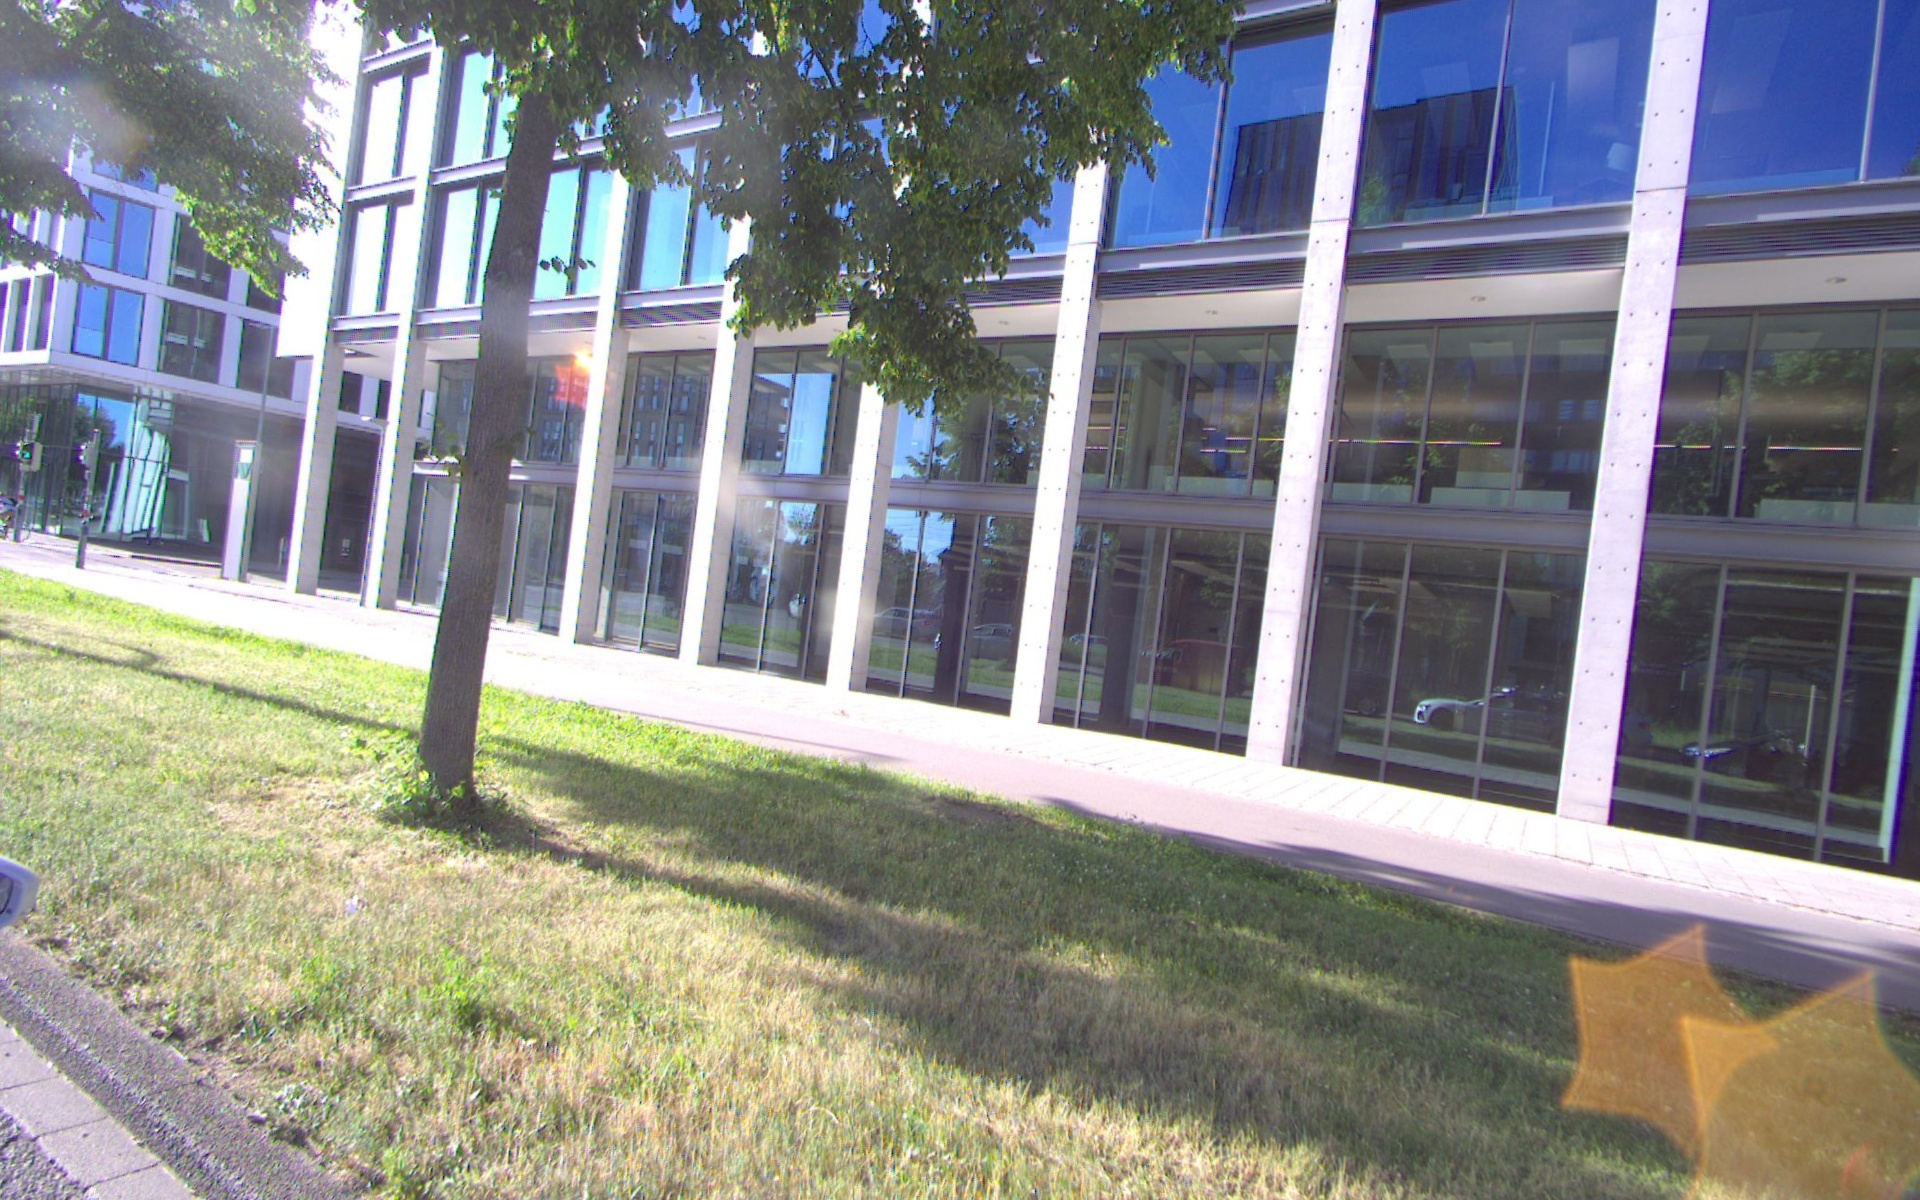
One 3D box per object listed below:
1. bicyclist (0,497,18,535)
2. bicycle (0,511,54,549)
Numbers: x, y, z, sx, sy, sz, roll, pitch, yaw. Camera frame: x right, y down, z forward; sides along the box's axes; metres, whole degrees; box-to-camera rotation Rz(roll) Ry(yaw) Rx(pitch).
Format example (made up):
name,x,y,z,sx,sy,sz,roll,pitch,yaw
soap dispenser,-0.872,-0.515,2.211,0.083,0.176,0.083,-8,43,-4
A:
name,x,y,z,sx,sy,sz,roll,pitch,yaw
bicyclist,-33.972,-2.993,35.638,0.677,1.290,0.813,7,0,-36
bicycle,-34.073,-2.592,35.610,2.821,1.128,0.813,8,-1,-36
